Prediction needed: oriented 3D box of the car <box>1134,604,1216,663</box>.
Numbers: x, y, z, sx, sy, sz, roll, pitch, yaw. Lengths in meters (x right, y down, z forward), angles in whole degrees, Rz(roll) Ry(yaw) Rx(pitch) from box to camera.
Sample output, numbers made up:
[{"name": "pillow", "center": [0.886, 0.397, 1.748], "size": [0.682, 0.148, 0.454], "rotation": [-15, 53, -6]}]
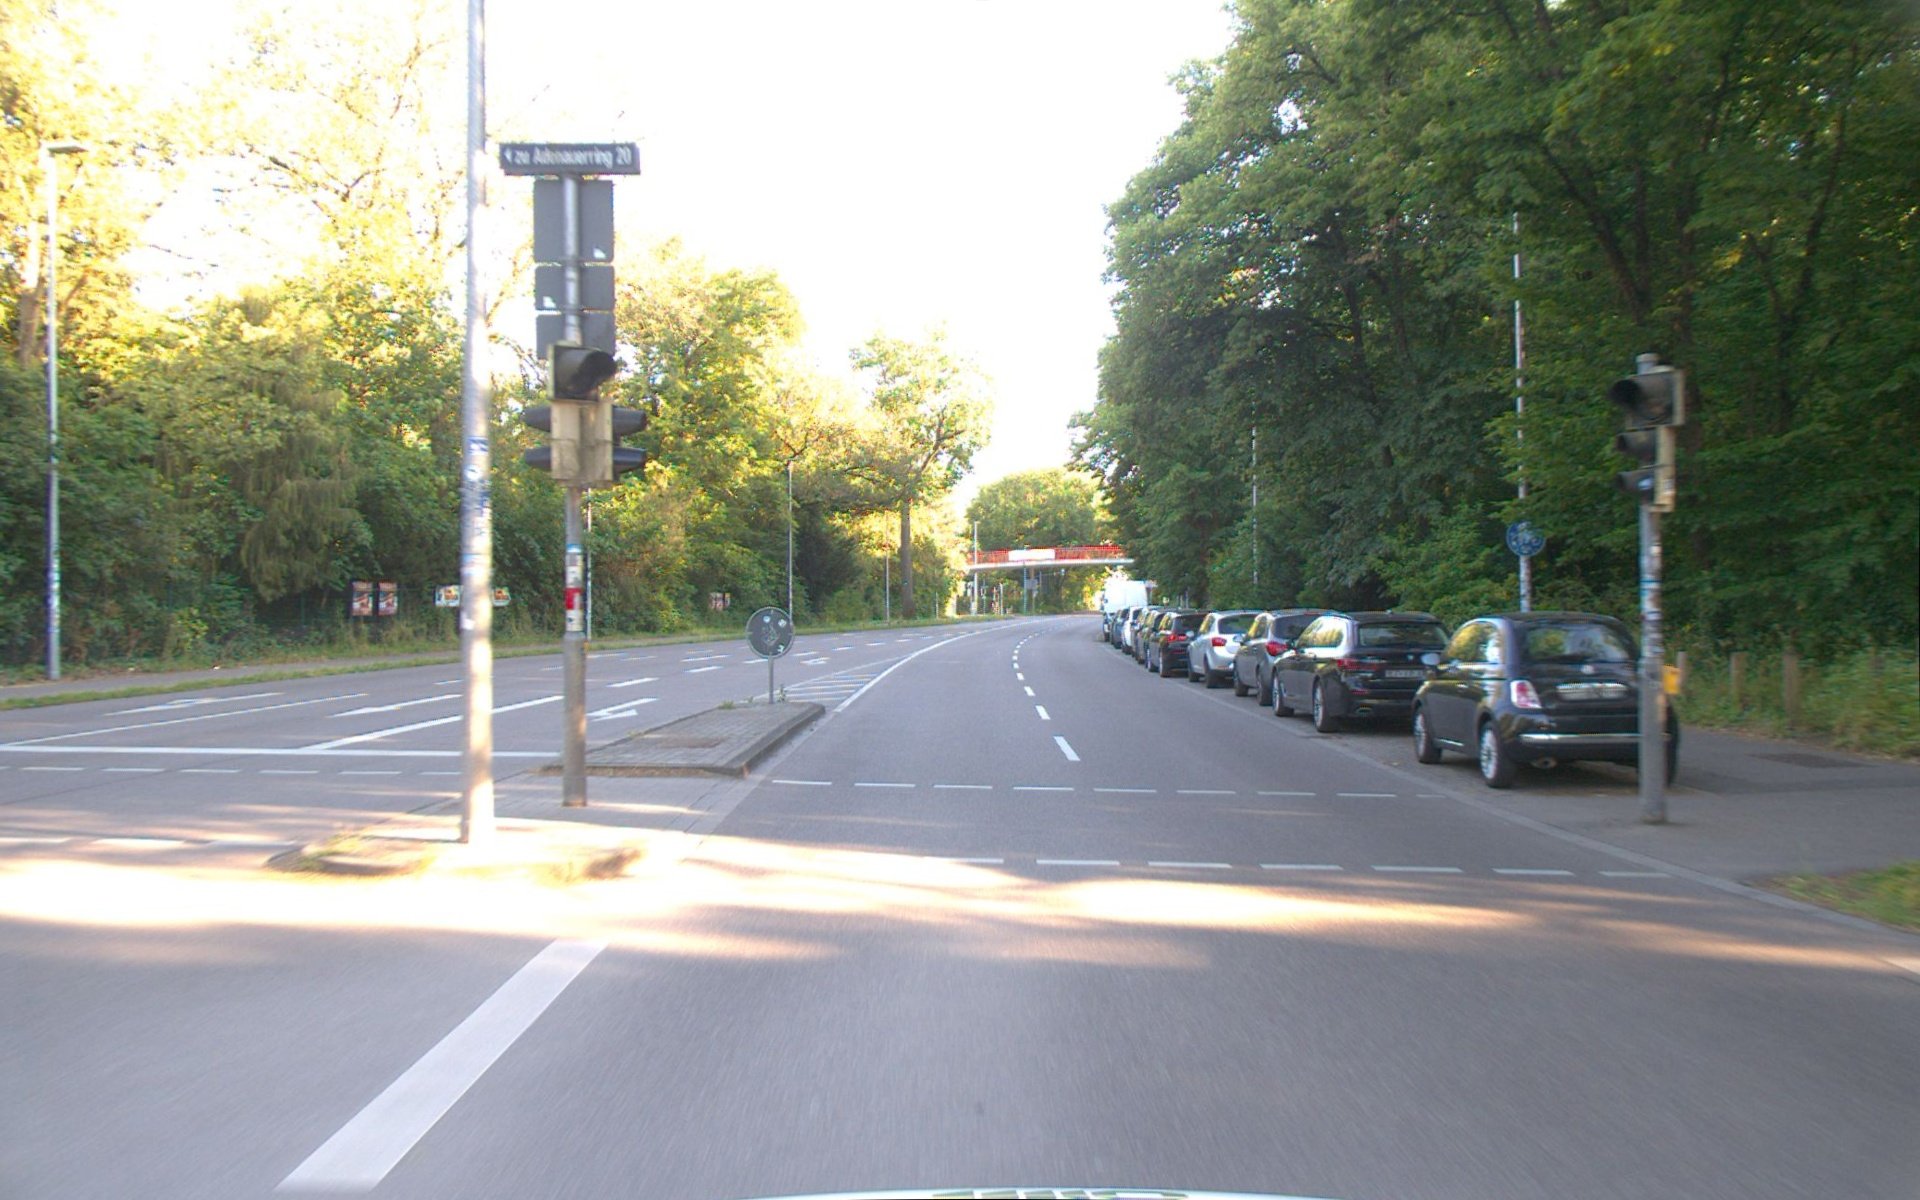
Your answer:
[{"name": "car", "center": [5.571, 0.852, 43.244], "size": [1.682, 1.436, 4.488], "rotation": [-1, 0, 2]}]

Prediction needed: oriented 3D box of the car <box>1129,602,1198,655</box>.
[{"name": "car", "center": [5.932, 0.802, 48.607], "size": [1.682, 1.436, 4.908], "rotation": [-1, 0, 3]}]

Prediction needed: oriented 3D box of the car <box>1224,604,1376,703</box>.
[{"name": "car", "center": [5.606, 0.841, 27.709], "size": [1.682, 1.494, 4.202], "rotation": [-1, 0, 0]}]

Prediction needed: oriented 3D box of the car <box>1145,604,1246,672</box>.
[{"name": "car", "center": [5.316, 0.837, 37.858], "size": [1.682, 1.436, 4.487], "rotation": [-1, 0, 0]}]

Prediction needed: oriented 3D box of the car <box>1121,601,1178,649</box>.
[{"name": "car", "center": [6.163, 0.797, 54.079], "size": [1.642, 1.490, 3.690], "rotation": [-1, 0, 3]}]

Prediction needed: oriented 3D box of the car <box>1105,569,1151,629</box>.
[{"name": "car", "center": [7.235, -0.015, 71.683], "size": [1.864, 2.466, 5.579], "rotation": [-1, 0, 5]}]

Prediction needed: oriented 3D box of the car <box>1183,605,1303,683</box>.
[{"name": "car", "center": [5.552, 0.837, 32.912], "size": [1.682, 1.436, 4.124], "rotation": [-1, 0, 0]}]

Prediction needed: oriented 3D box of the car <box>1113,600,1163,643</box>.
[{"name": "car", "center": [6.419, 0.754, 59.882], "size": [1.642, 1.490, 4.068], "rotation": [-1, 0, 4]}]

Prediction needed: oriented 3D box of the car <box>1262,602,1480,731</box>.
[{"name": "car", "center": [5.335, 0.805, 22.137], "size": [1.682, 1.494, 4.987], "rotation": [-1, 0, 0]}]

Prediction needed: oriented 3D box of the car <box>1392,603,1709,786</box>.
[{"name": "car", "center": [5.429, 0.800, 15.709], "size": [1.682, 1.494, 3.756], "rotation": [-1, 0, 0]}]

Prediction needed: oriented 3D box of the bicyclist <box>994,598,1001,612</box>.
[{"name": "bicyclist", "center": [4.455, 0.566, 194.128], "size": [0.697, 1.586, 1.143], "rotation": [1, -1, 7]}]
